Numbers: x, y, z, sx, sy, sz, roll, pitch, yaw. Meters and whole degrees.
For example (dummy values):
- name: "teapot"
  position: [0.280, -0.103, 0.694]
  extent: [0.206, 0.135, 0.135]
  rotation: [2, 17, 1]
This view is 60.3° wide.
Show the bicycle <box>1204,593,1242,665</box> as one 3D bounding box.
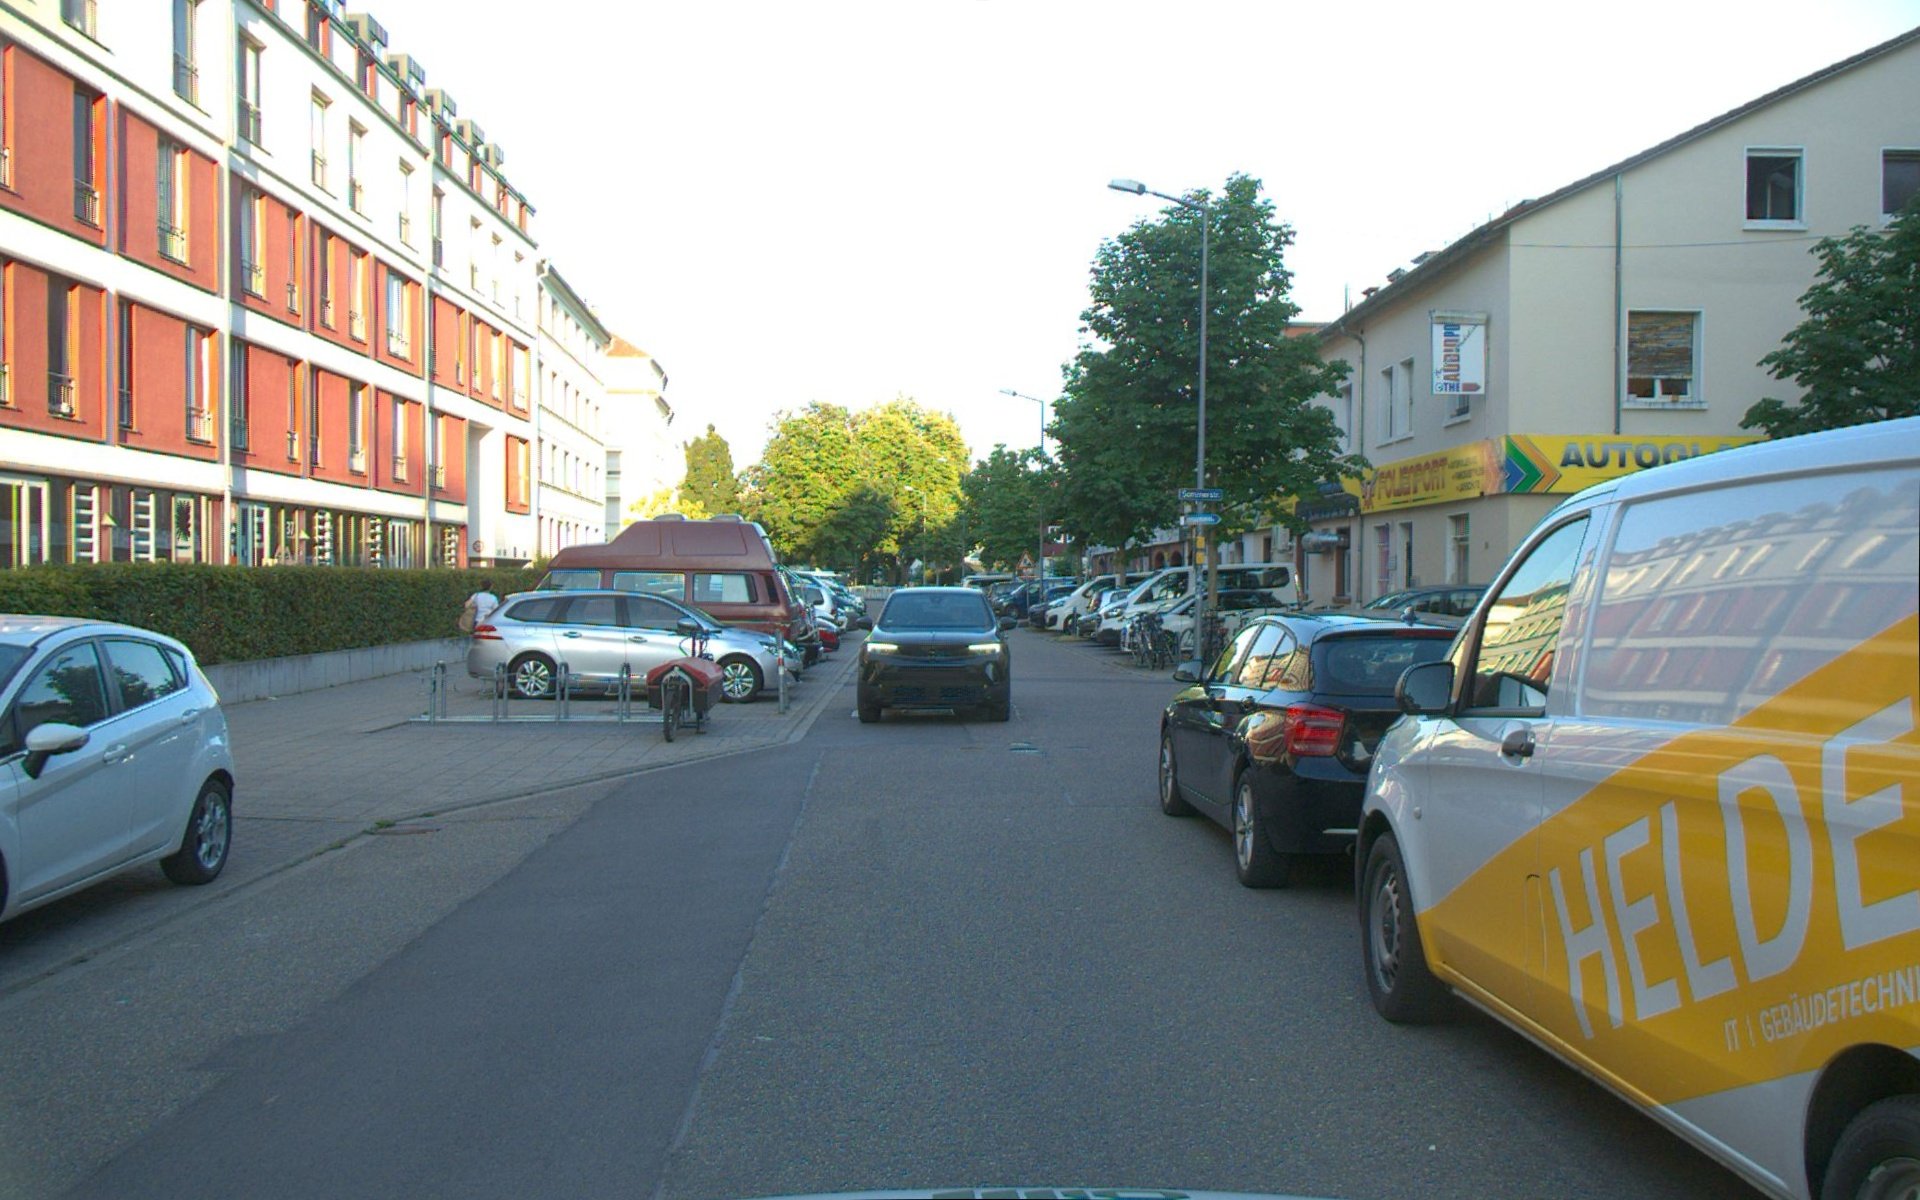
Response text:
- name: "bicycle"
  position: [5.102, 0.547, 32.154]
  extent: [0.378, 1.327, 2.017]
  rotation: [-1, 1, -1]

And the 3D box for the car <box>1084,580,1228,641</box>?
- name: "car"
  position: [5.527, 0.278, 47.056]
  extent: [3.832, 1.552, 1.939]
  rotation: [-2, 0, -1]

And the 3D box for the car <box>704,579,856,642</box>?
- name: "car"
  position: [-5.143, 0.289, 47.722]
  extent: [4.170, 1.681, 1.887]
  rotation: [1, 0, -2]

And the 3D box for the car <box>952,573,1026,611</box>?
- name: "car"
  position: [1.600, -0.447, 92.173]
  extent: [3.892, 1.945, 2.047]
  rotation: [-2, 0, -6]

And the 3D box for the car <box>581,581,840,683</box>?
- name: "car"
  position: [-4.123, 0.514, 27.888]
  extent: [4.125, 1.565, 1.790]
  rotation: [1, 0, -3]

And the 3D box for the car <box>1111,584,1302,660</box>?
- name: "car"
  position: [5.361, 0.468, 36.289]
  extent: [3.841, 1.476, 1.767]
  rotation: [-2, 1, -4]

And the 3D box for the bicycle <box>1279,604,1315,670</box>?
- name: "bicycle"
  position: [6.508, 0.695, 31.987]
  extent: [0.346, 1.221, 1.481]
  rotation: [-1, 1, -1]

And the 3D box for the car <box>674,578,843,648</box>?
- name: "car"
  position: [-5.224, 0.317, 43.364]
  extent: [4.170, 1.689, 2.000]
  rotation: [1, 0, -1]

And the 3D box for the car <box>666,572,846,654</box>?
- name: "car"
  position: [-4.988, 0.302, 40.897]
  extent: [4.170, 1.868, 2.000]
  rotation: [1, 0, -1]

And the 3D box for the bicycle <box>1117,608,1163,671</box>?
- name: "bicycle"
  position: [3.467, 0.739, 31.904]
  extent: [0.429, 1.150, 2.014]
  rotation: [-1, 1, -6]

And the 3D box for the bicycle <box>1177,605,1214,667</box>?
- name: "bicycle"
  position: [4.567, 0.682, 32.147]
  extent: [0.378, 1.133, 2.017]
  rotation: [-1, 1, -1]

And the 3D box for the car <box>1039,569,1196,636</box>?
- name: "car"
  position: [5.128, 0.067, 54.353]
  extent: [4.846, 1.992, 2.048]
  rotation: [-2, 0, -3]

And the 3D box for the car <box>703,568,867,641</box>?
- name: "car"
  position: [-5.272, 0.121, 50.274]
  extent: [4.752, 2.056, 1.906]
  rotation: [1, 0, -2]

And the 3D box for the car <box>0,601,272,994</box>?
- name: "car"
  position: [-4.801, 0.813, 7.837]
  extent: [1.618, 1.557, 4.014]
  rotation: [1, 0, -4]

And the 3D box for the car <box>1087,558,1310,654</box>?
- name: "car"
  position: [5.563, 0.127, 39.078]
  extent: [4.888, 2.018, 2.219]
  rotation: [-2, 0, -1]

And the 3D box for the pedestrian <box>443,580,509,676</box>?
- name: "pedestrian"
  position: [-7.921, 0.442, 27.076]
  extent: [0.815, 1.527, 0.798]
  rotation: [1, 0, -1]

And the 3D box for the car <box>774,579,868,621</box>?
- name: "car"
  position: [-6.365, -0.003, 76.117]
  extent: [4.170, 1.780, 2.000]
  rotation: [1, 0, -1]

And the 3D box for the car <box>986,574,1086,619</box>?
- name: "car"
  position: [3.521, -0.165, 76.753]
  extent: [4.393, 1.945, 1.686]
  rotation: [-2, 0, -6]

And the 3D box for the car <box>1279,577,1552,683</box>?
- name: "car"
  position: [7.361, 0.464, 26.976]
  extent: [3.968, 1.540, 1.756]
  rotation: [-1, 2, -1]

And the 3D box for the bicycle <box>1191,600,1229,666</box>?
- name: "bicycle"
  position: [4.847, 0.621, 32.140]
  extent: [0.378, 1.221, 2.017]
  rotation: [-1, 1, -1]

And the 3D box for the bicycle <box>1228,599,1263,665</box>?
- name: "bicycle"
  position: [5.518, 0.610, 32.007]
  extent: [0.378, 1.221, 1.481]
  rotation: [-1, 1, -1]

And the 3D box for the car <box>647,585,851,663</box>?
- name: "car"
  position: [-4.465, 0.491, 35.489]
  extent: [4.123, 1.516, 1.849]
  rotation: [1, 0, -1]

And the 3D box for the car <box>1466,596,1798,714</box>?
- name: "car"
  position: [9.061, 0.713, 22.492]
  extent: [3.849, 1.480, 1.657]
  rotation: [0, 1, -1]

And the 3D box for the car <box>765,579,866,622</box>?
- name: "car"
  position: [-6.203, 0.014, 71.349]
  extent: [4.170, 1.744, 2.000]
  rotation: [1, 0, -1]

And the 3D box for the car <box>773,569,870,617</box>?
- name: "car"
  position: [-6.565, -0.343, 78.749]
  extent: [4.442, 2.171, 2.000]
  rotation: [1, 0, -2]

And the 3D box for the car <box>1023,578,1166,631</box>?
- name: "car"
  position: [4.764, 0.146, 59.169]
  extent: [4.846, 1.718, 2.076]
  rotation: [-2, 0, -3]

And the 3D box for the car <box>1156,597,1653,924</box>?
- name: "car"
  position: [2.320, 0.743, 9.802]
  extent: [1.686, 1.449, 4.252]
  rotation: [1, 1, -1]

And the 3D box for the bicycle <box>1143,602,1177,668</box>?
- name: "bicycle"
  position: [3.871, 0.656, 32.099]
  extent: [0.378, 1.221, 2.017]
  rotation: [-1, 1, -1]

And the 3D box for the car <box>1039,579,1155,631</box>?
- name: "car"
  position: [5.268, 0.182, 64.087]
  extent: [4.231, 1.835, 1.810]
  rotation: [-2, 0, -3]

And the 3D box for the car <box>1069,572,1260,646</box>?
- name: "car"
  position: [5.433, 0.215, 44.421]
  extent: [4.843, 1.772, 2.049]
  rotation: [-2, 0, -1]

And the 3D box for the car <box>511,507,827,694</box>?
- name: "car"
  position: [-4.359, -0.002, 25.311]
  extent: [4.419, 2.629, 2.000]
  rotation: [1, 0, 0]

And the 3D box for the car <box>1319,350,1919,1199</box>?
- name: "car"
  position: [2.488, 0.534, 4.304]
  extent: [1.855, 1.917, 5.080]
  rotation: [1, 0, -2]

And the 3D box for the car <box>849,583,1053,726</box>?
- name: "car"
  position: [-0.002, 0.583, 20.150]
  extent: [1.741, 1.544, 4.004]
  rotation: [-1, 0, 10]

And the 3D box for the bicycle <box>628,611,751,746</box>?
- name: "bicycle"
  position: [-2.805, 0.773, 17.475]
  extent: [0.791, 1.242, 2.865]
  rotation: [1, 0, 0]

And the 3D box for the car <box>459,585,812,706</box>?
- name: "car"
  position: [-4.339, 0.595, 22.737]
  extent: [4.525, 1.485, 1.879]
  rotation: [1, 0, -5]

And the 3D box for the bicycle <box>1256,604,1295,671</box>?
- name: "bicycle"
  position: [6.087, 0.712, 31.988]
  extent: [0.436, 1.221, 1.481]
  rotation: [-1, 1, -1]
